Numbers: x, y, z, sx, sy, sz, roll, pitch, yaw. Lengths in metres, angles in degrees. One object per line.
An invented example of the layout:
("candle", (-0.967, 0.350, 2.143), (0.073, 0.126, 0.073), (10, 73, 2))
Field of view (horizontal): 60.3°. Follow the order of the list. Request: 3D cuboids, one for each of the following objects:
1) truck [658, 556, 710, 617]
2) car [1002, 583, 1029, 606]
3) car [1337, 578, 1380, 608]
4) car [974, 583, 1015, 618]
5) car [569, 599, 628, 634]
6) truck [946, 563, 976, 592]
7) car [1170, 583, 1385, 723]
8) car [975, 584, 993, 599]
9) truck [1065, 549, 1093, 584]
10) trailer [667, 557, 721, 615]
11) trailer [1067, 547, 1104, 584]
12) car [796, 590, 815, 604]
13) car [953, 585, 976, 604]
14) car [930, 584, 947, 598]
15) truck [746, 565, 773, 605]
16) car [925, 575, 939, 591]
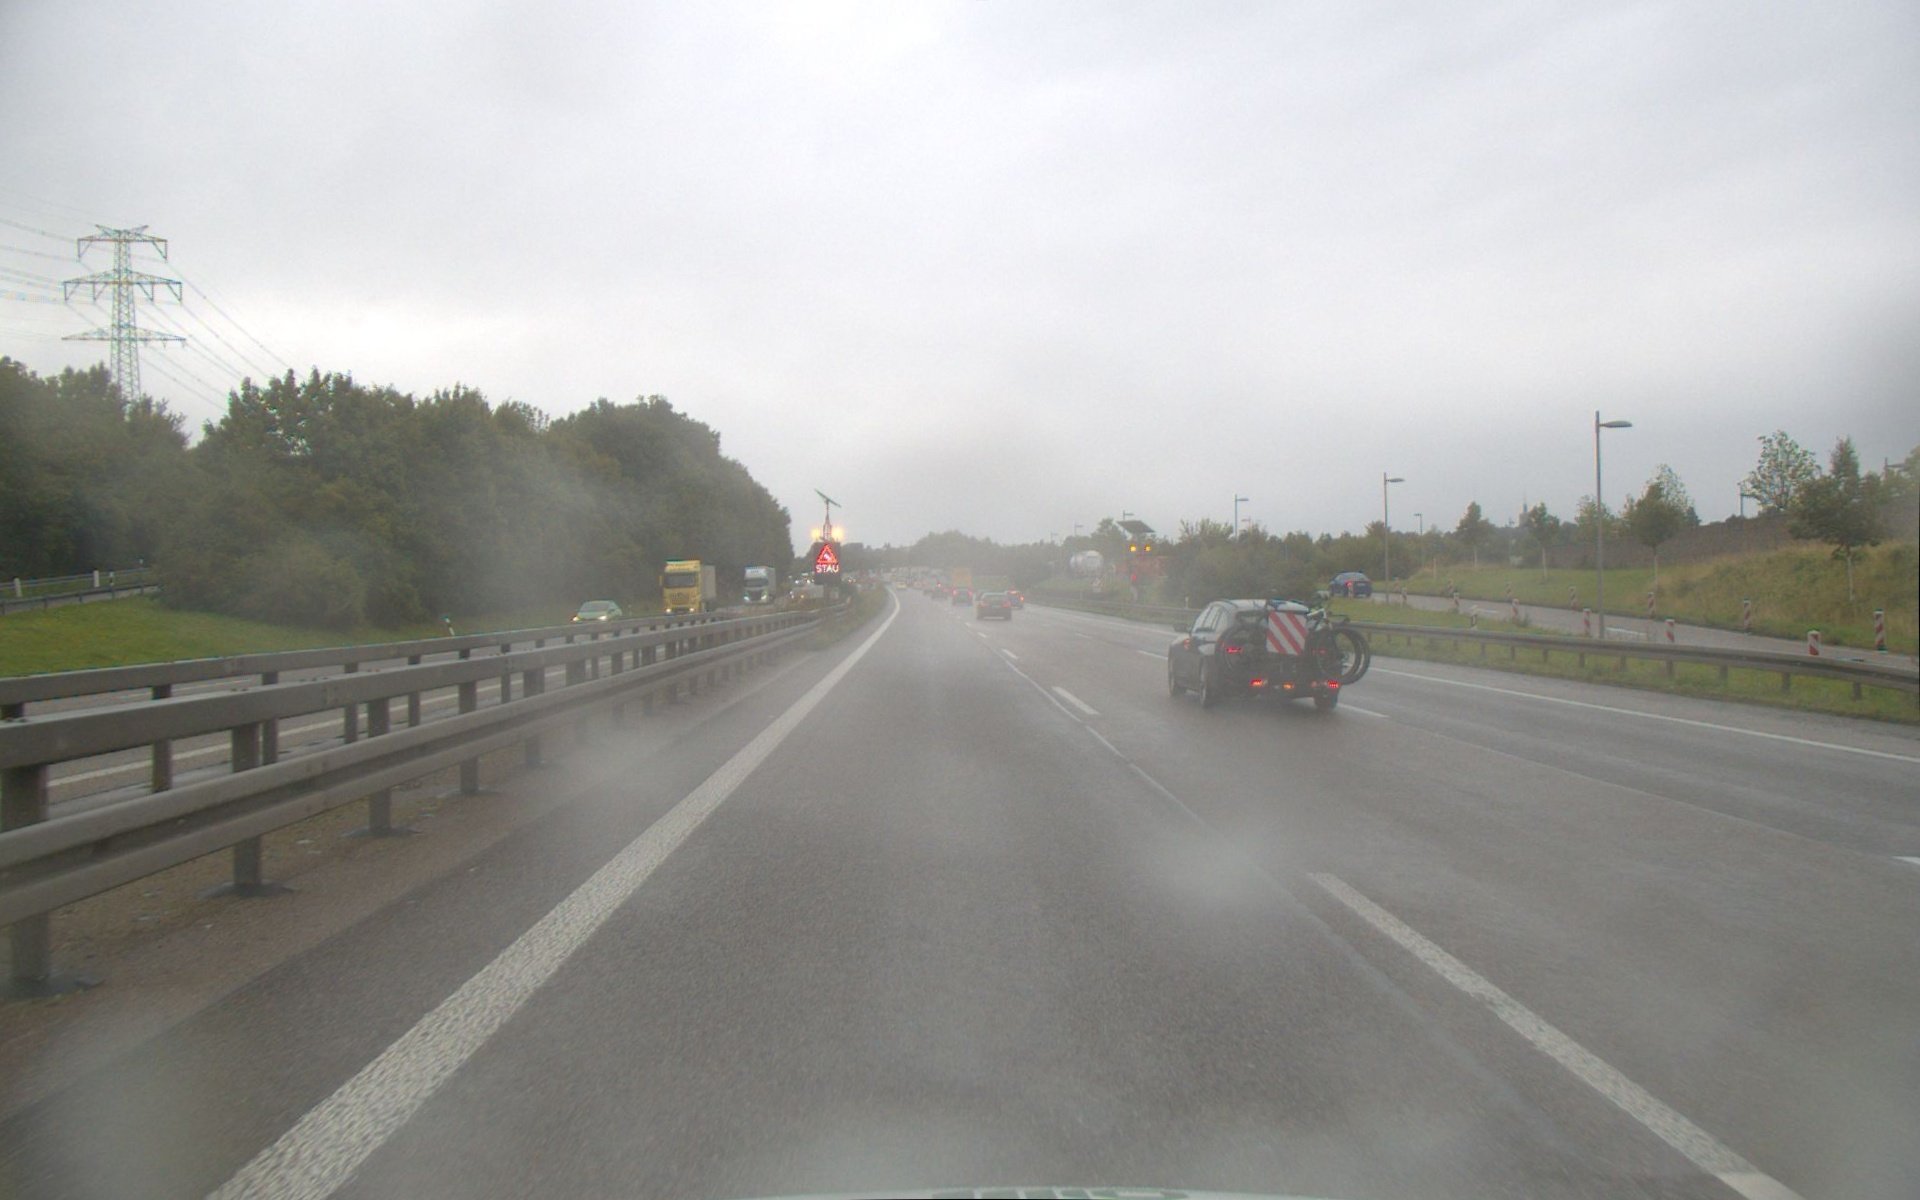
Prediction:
("truck", (-19.899, -0.974, 119.578), (2.706, 4.126, 6.155), (-2, 0, -2))
("car", (4.468, -0.435, 133.455), (1.953, 1.791, 3.999), (1, 0, -2))
("car", (24.261, -0.433, 100.812), (1.882, 1.739, 4.002), (-1, 0, 5))
("car", (1.858, 0.008, 89.055), (1.953, 1.791, 3.999), (-1, 1, -2))
("car", (-16.986, 0.761, 77.884), (1.837, 1.519, 4.513), (-2, 0, -2))
("truck", (0.060, -3.266, 238.847), (3.845, 4.051, 12.235), (-1, 1, -2))
("car", (4.226, 0.667, 22.964), (2.015, 1.700, 5.522), (0, 0, 1))
("car", (2.781, -0.973, 192.960), (1.953, 1.657, 3.999), (-1, 1, -2))
("truck", (14.585, -4.051, 203.638), (2.889, 4.217, 4.921), (-1, 0, -2))
("trailer", (-20.077, -1.057, 125.120), (2.706, 4.126, 9.197), (-2, 1, -2))
("trailer", (14.819, -4.004, 196.396), (2.925, 4.228, 12.951), (-1, 1, -2))
("car", (-17.525, -0.354, 188.088), (1.837, 1.519, 4.513), (-2, 0, -2))
("car", (0.374, -0.509, 152.070), (1.953, 1.657, 3.999), (-1, 1, -2))
("car", (-2.555, -1.092, 196.260), (1.953, 1.657, 3.999), (-1, 1, -2))
("truck", (-22.550, -1.698, 185.870), (2.590, 4.311, 3.999), (-1, 0, -2))
("car", (-4.150, -2.543, 247.830), (1.953, 2.243, 3.999), (-1, 1, -2))
